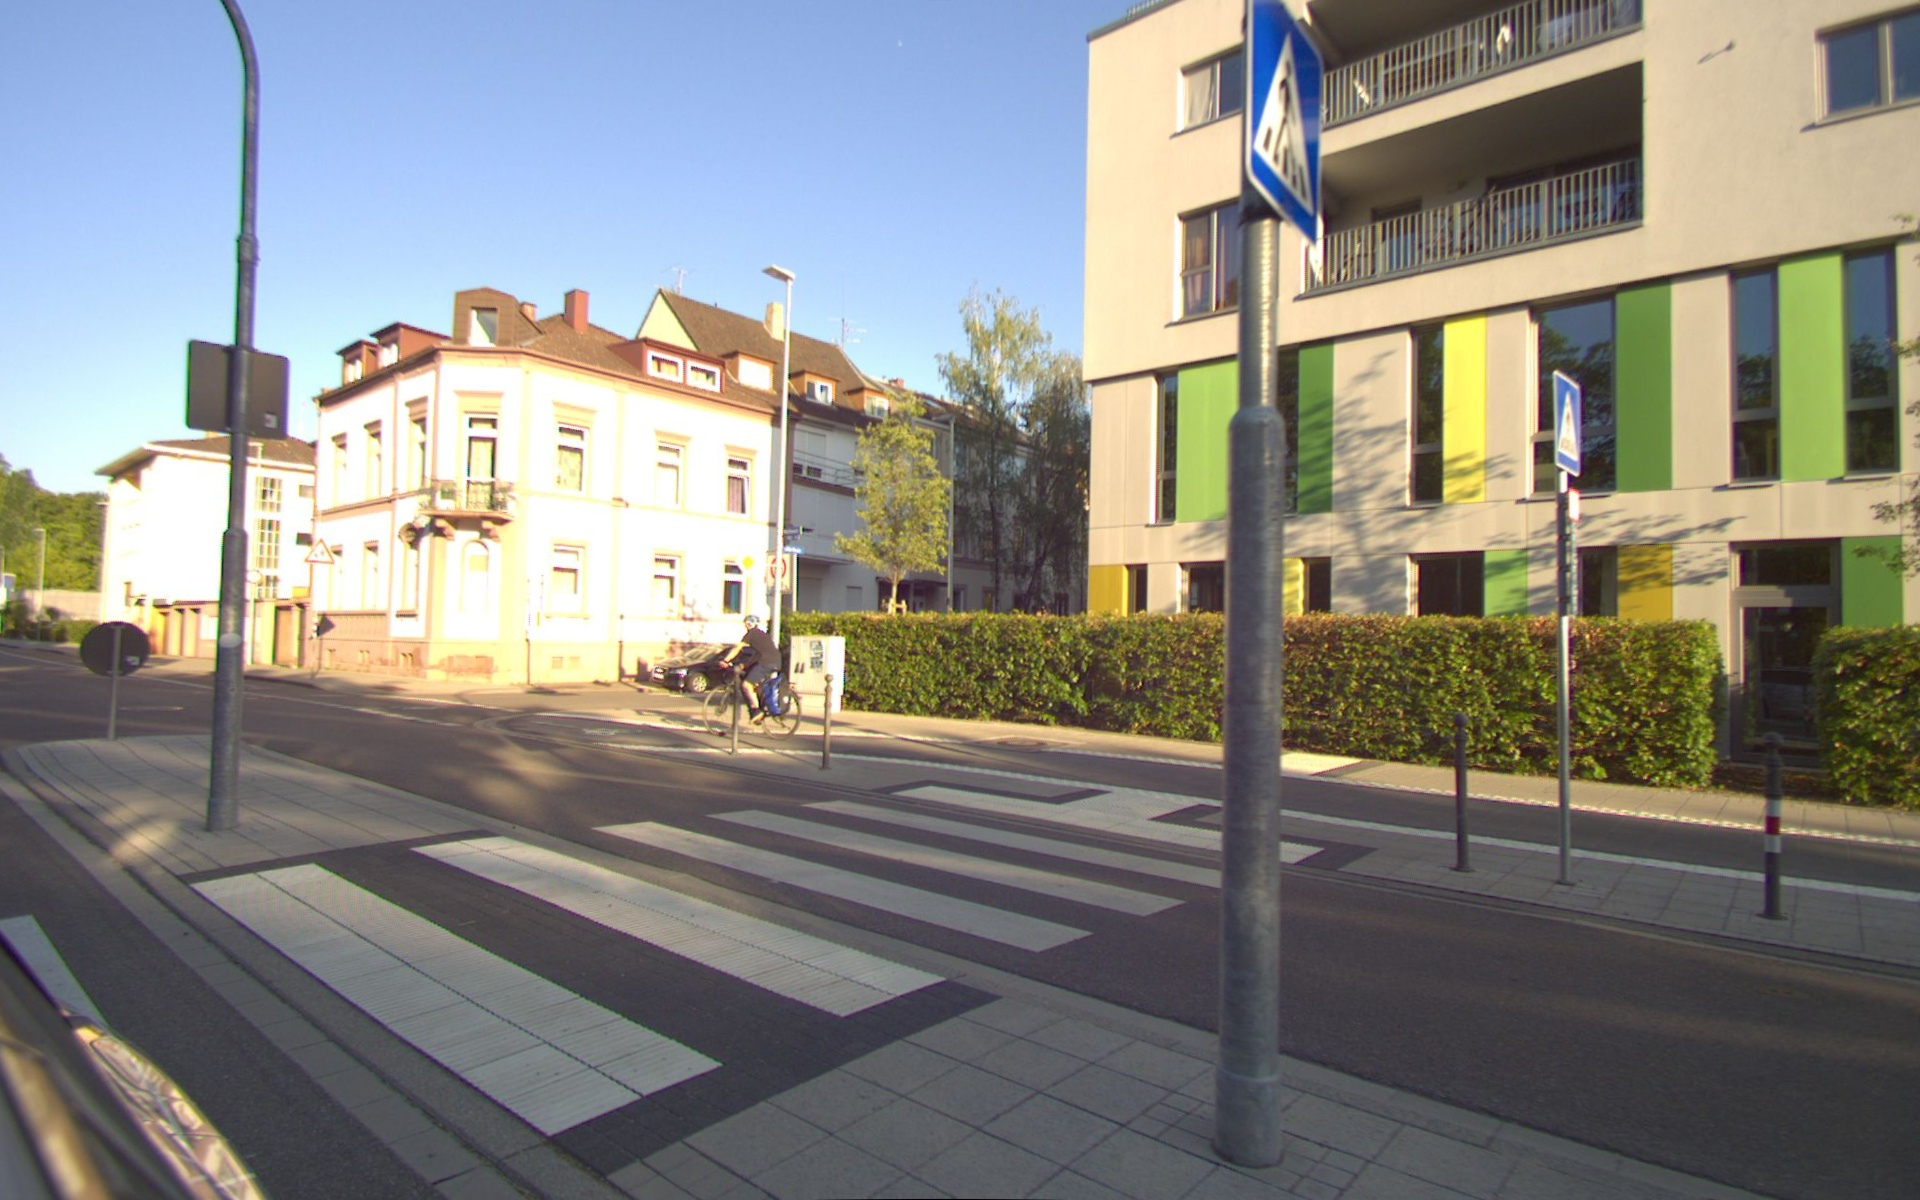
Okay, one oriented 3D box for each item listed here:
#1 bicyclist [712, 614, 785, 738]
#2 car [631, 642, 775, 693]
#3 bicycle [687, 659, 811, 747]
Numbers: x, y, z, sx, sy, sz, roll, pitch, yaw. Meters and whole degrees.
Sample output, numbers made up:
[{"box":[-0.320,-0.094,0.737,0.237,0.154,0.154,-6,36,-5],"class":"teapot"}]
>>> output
[{"box":[-2.918,1.031,13.963,0.757,1.657,0.620,-1,-4,41],"class":"bicyclist"},{"box":[-7.767,2.034,30.854,1.902,1.449,3.867,-1,-4,39],"class":"car"},{"box":[-2.936,1.384,13.957,1.882,1.086,0.627,-1,-4,40],"class":"bicycle"}]
